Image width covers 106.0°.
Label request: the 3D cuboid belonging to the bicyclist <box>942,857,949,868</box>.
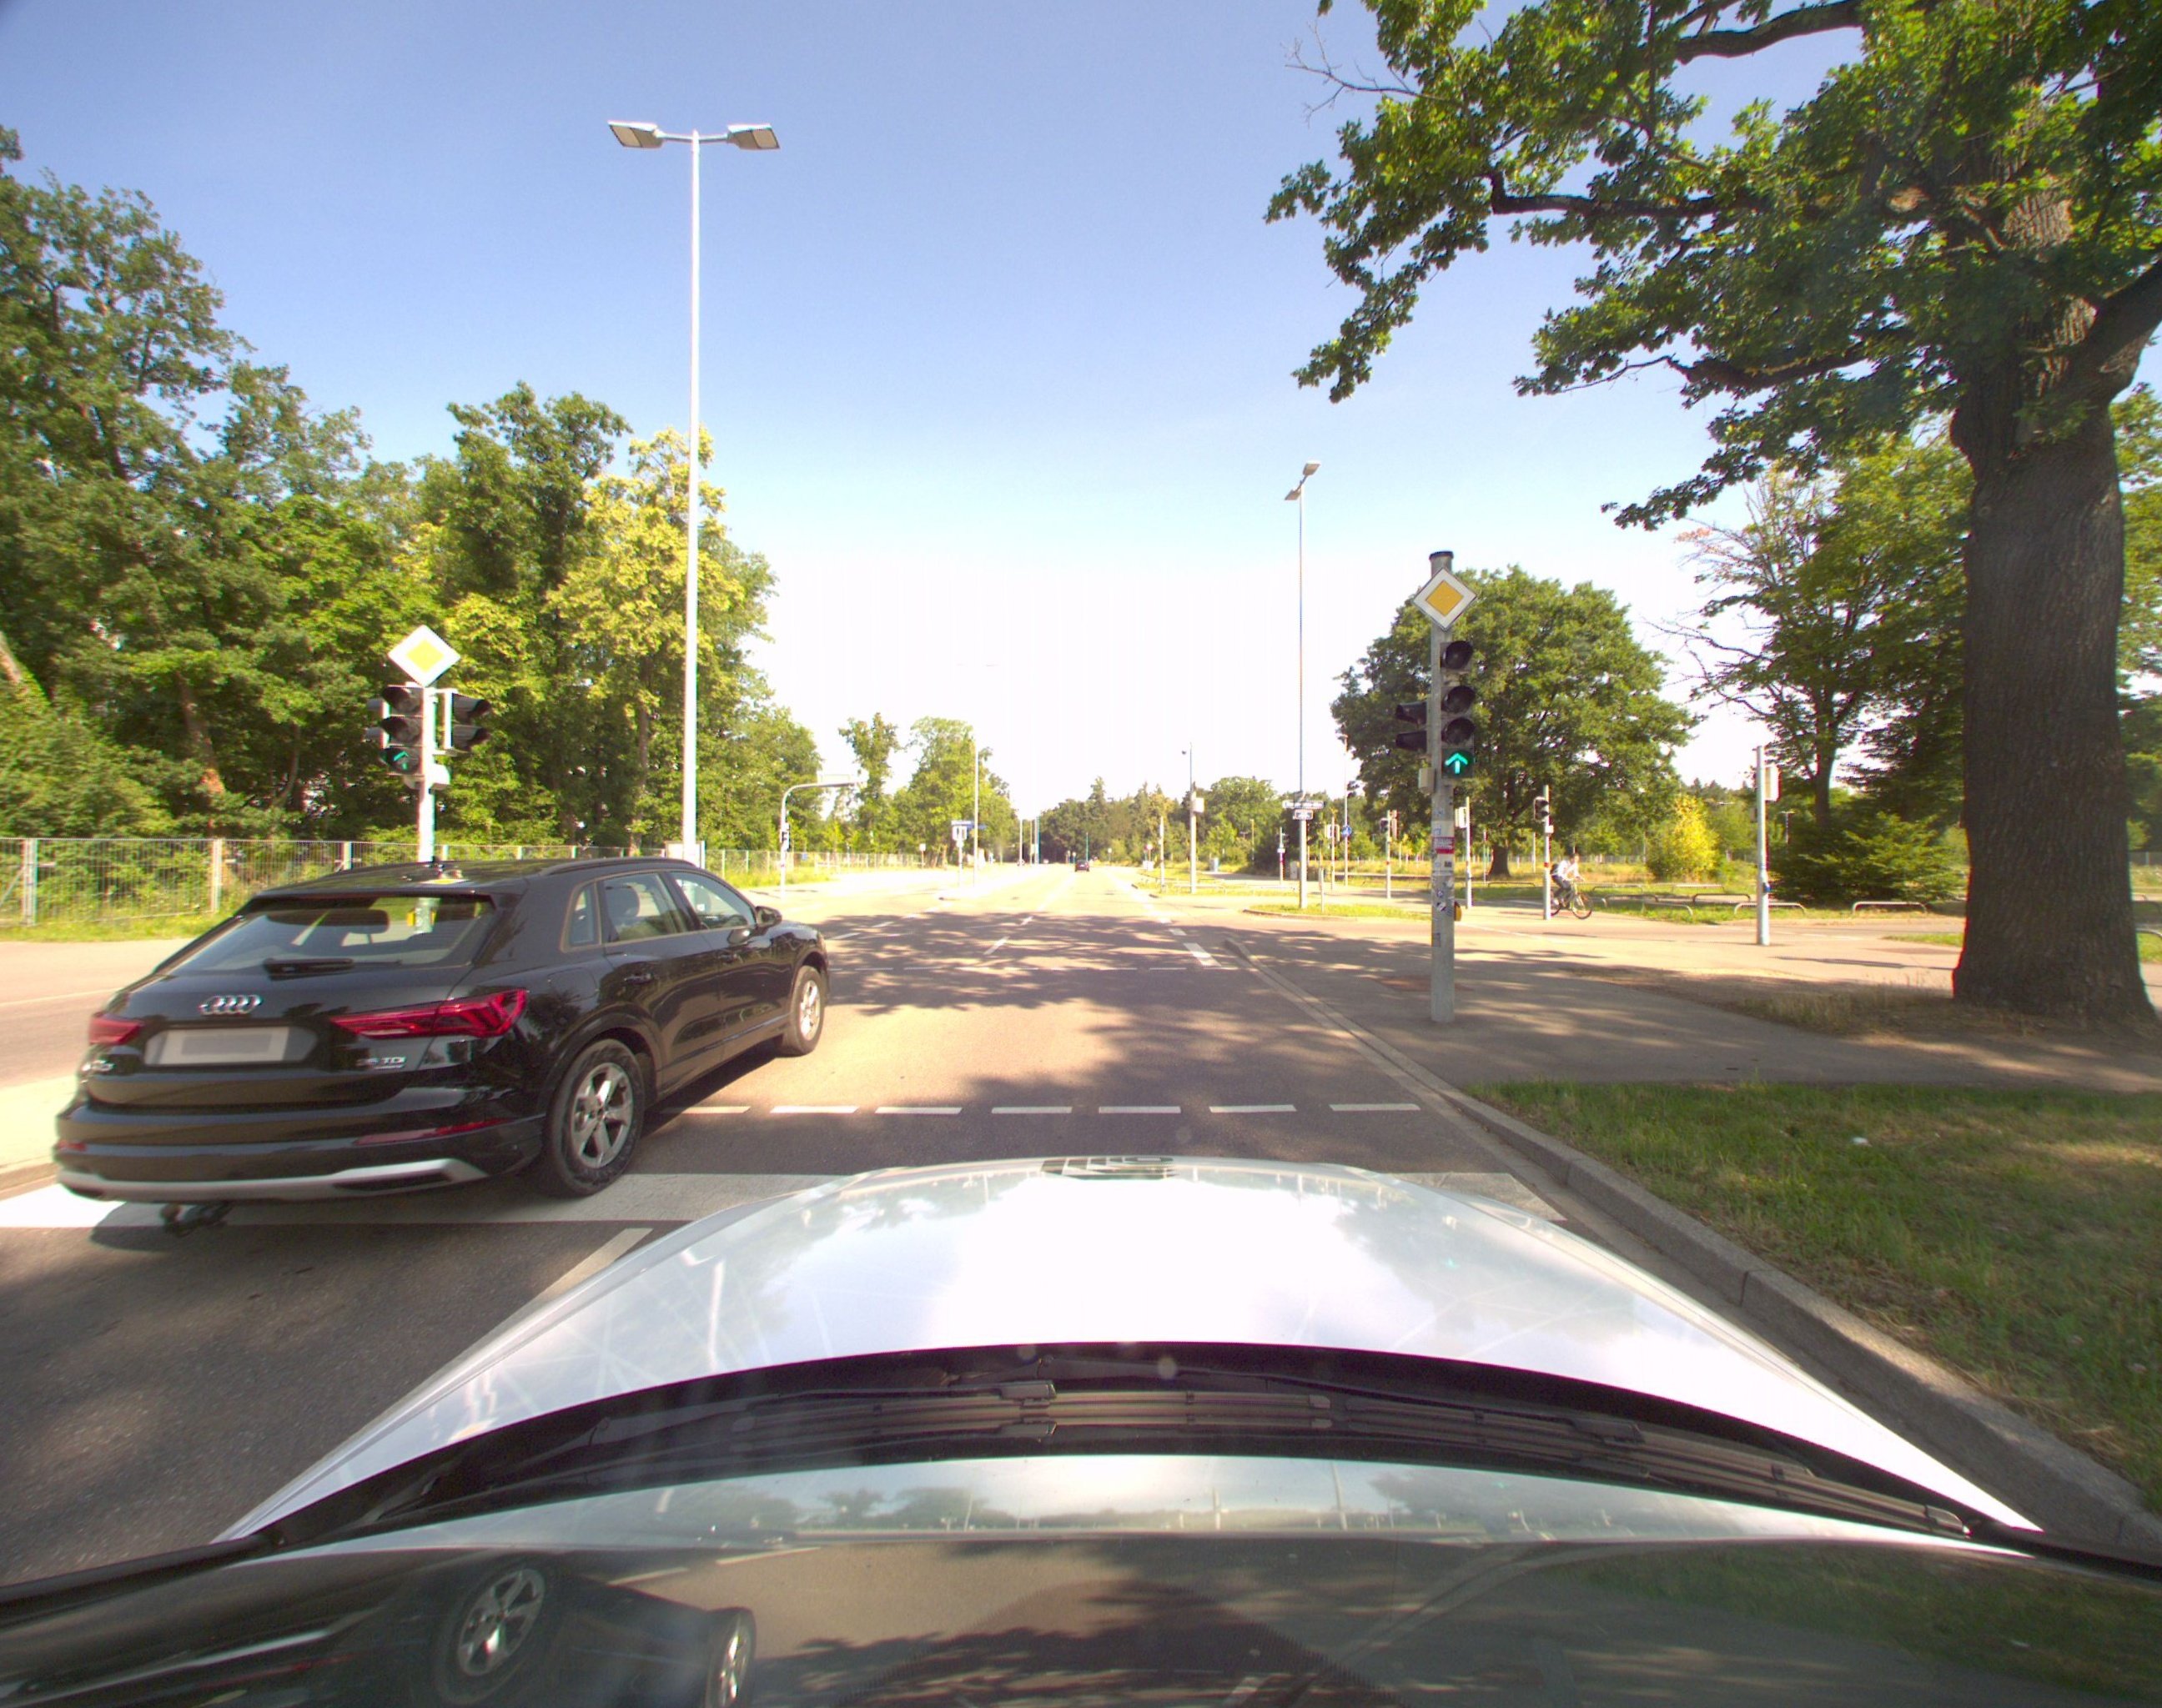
[{"bbox_3d":[-17.948,1.151,107.805,0.658,1.467,1.056,1,-1,-2],"label":"bicyclist"}]

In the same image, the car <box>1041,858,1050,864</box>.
[{"bbox_3d":[-10.769,2.135,247.592,1.995,1.750,3.984,0,-1,-12],"label":"car"}]

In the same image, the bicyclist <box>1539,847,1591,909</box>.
[{"bbox_3d":[13.113,0.632,22.088,0.723,1.639,1.055,0,-1,-7],"label":"bicyclist"}]

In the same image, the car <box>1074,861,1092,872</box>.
[{"bbox_3d":[0.235,1.552,102.403,1.937,1.420,4.287,0,0,-4],"label":"car"}]

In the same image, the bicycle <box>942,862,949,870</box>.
[{"bbox_3d":[-17.971,1.570,107.686,0.658,1.136,1.877,1,0,-2],"label":"bicycle"}]

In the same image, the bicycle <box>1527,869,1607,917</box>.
[{"bbox_3d":[13.106,1.030,22.055,0.723,1.199,2.095,0,0,-7],"label":"bicycle"}]

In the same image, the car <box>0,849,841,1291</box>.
[{"bbox_3d":[-2.995,0.780,4.974,1.681,1.544,4.150,-1,0,2],"label":"car"}]

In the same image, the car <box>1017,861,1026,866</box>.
[{"bbox_3d":[-15.178,2.441,207.350,1.810,1.388,4.148,-2,-1,-9],"label":"car"}]
